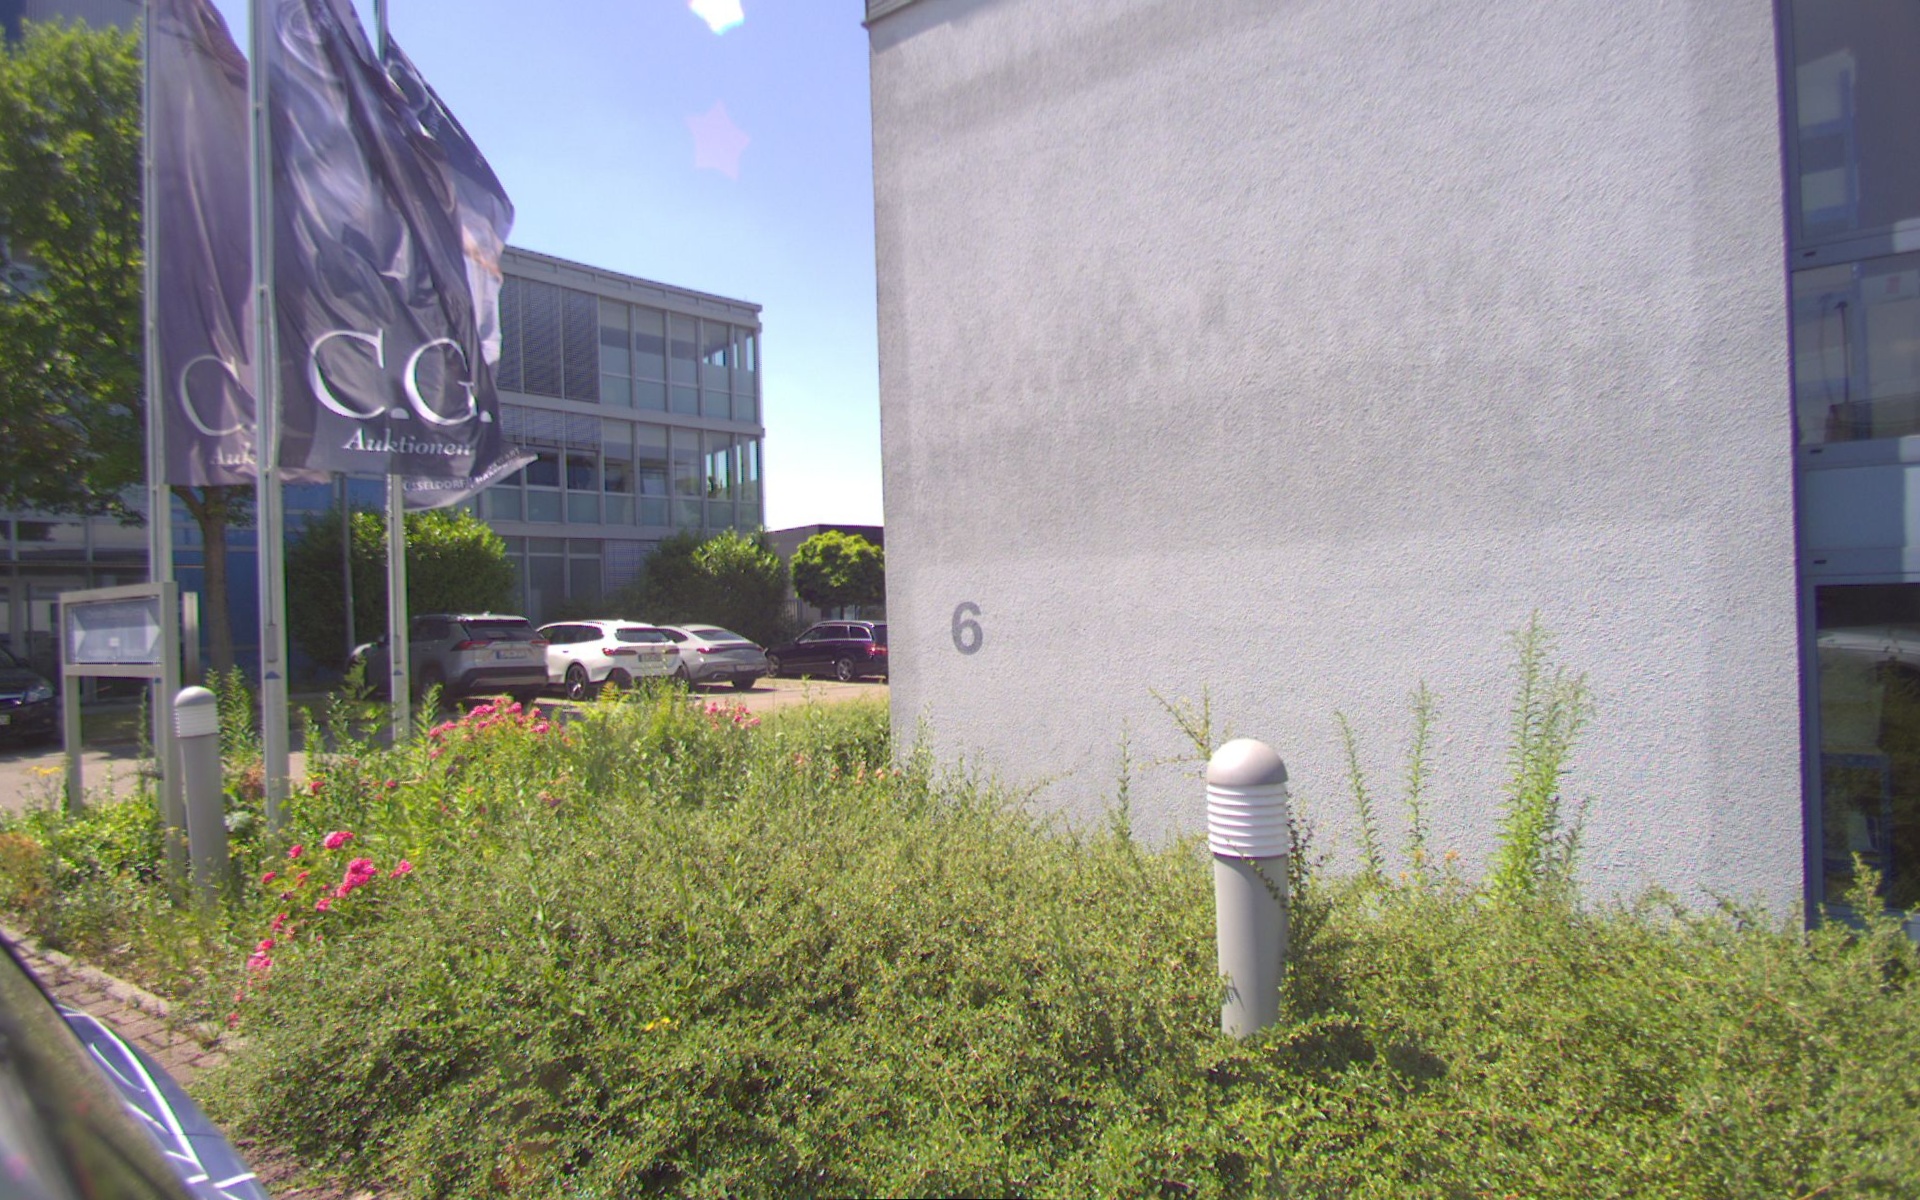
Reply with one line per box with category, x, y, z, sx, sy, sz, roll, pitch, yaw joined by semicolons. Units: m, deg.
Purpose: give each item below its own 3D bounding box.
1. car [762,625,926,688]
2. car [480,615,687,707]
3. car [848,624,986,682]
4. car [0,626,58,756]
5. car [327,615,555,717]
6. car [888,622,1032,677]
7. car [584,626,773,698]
car;-2.976;1.357;25.463;4.169;1.435;1.729;-1;-1;41
car;-7.551;1.149;20.171;4.161;1.650;1.812;-1;-2;34
car;-1.255;1.381;27.740;1.724;1.435;4.181;1;-1;-37
car;-13.068;1.095;12.559;4.383;1.495;1.712;-1;-1;33
car;-9.383;1.122;18.233;4.158;1.650;1.813;-1;-2;32
car;-0.055;1.387;29.636;4.171;1.435;1.728;0;0;43
car;-6.208;1.297;22.131;4.161;1.411;1.732;-1;-2;34
